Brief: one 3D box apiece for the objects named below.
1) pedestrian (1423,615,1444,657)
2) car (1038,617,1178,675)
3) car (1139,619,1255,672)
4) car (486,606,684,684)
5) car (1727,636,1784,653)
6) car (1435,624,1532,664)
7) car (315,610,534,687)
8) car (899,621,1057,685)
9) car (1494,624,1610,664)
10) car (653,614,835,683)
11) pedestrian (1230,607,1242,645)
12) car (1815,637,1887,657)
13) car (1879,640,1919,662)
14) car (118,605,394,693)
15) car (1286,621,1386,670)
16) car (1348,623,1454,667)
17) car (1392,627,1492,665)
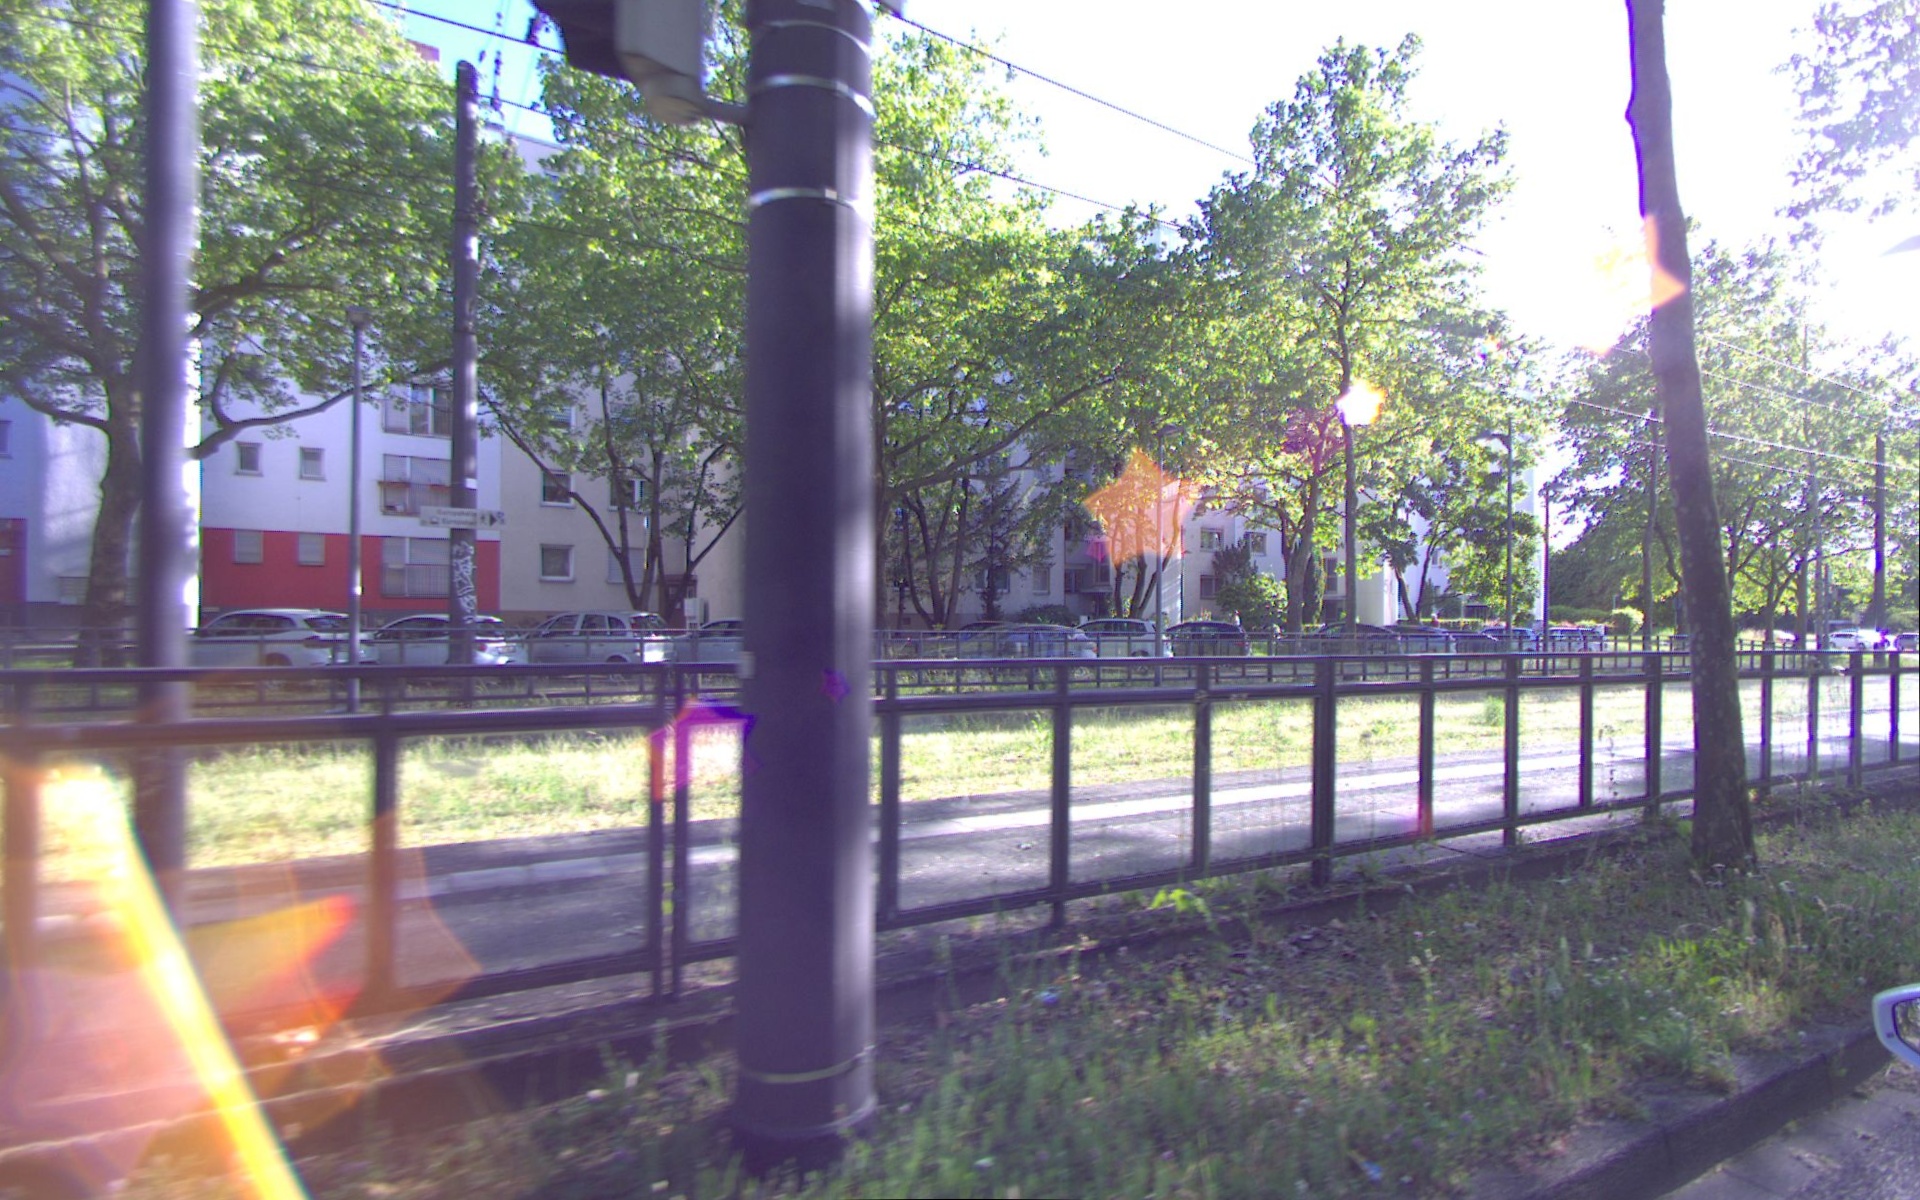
[{"bbox_3d":[20.607,1.563,43.746,0.709,1.816,0.473,2,0,-32],"label":"pedestrian"},{"bbox_3d":[4.442,1.343,30.102,3.914,1.565,1.646,1,1,19],"label":"car"},{"bbox_3d":[7.542,1.418,32.014,3.321,1.529,1.463,1,1,27],"label":"car"},{"bbox_3d":[-8.440,0.972,22.712,3.977,1.590,1.576,1,2,11],"label":"car"},{"bbox_3d":[75.403,4.175,95.225,1.783,1.455,4.040,-1,-1,-11],"label":"car"},{"bbox_3d":[21.125,1.746,40.653,3.221,1.450,1.571,2,0,18],"label":"car"},{"bbox_3d":[-11.264,0.981,21.210,3.977,1.452,1.577,1,1,11],"label":"car"},{"bbox_3d":[0.534,1.429,27.579,4.090,1.565,1.647,1,1,11],"label":"car"},{"bbox_3d":[24.687,1.814,42.022,3.842,1.496,1.632,2,0,17],"label":"car"},{"bbox_3d":[-5.180,1.121,24.197,3.977,1.493,1.577,1,1,11],"label":"car"},{"bbox_3d":[13.563,1.273,49.339,0.446,1.816,0.315,1,0,-37],"label":"pedestrian"},{"bbox_3d":[77.439,4.083,87.382,1.866,1.632,4.491,0,-1,-11],"label":"car"},{"bbox_3d":[77.896,4.134,81.653,1.866,1.632,4.491,-1,-1,-11],"label":"car"},{"bbox_3d":[-13.675,0.895,19.610,4.408,1.524,1.901,1,1,11],"label":"car"},{"bbox_3d":[13.161,1.586,35.295,3.075,1.568,1.466,1,1,13],"label":"car"},{"bbox_3d":[16.143,1.626,36.900,3.316,1.445,1.541,2,0,13],"label":"car"},{"bbox_3d":[18.636,1.763,38.993,3.317,1.270,1.465,2,0,20],"label":"car"}]
